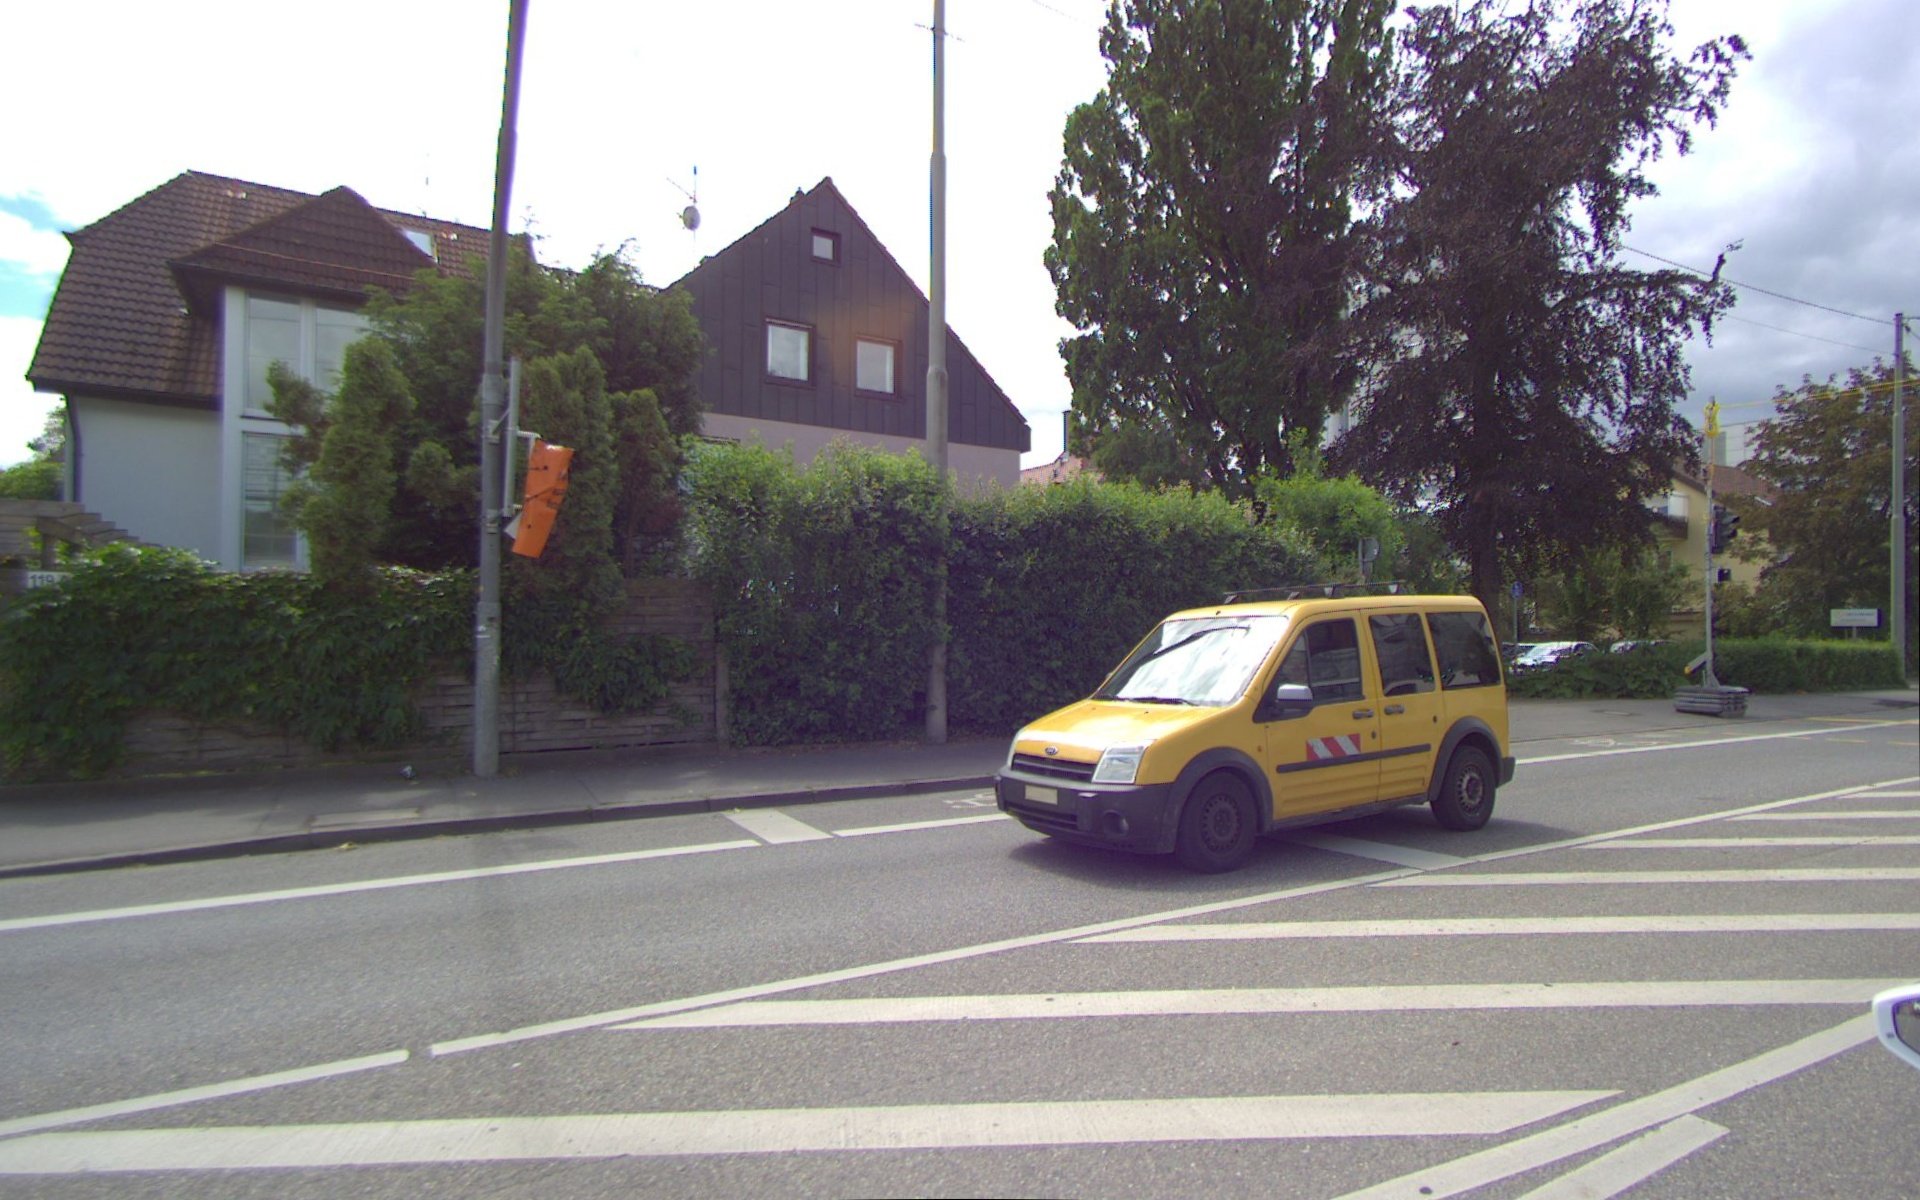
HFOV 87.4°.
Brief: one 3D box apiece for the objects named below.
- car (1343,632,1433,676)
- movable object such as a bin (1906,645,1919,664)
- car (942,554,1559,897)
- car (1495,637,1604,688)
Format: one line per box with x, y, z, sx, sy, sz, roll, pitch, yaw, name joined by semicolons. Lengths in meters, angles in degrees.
16.972;2.109;39.852;3.398;1.685;1.652;1;-2;-32;car
47.869;2.705;50.001;0.985;0.954;0.745;1;-3;-23;movable object such as a bin
2.320;0.780;7.646;4.630;1.929;1.833;1;-3;-30;car
19.083;1.989;32.486;3.398;1.535;1.652;1;-2;-32;car
